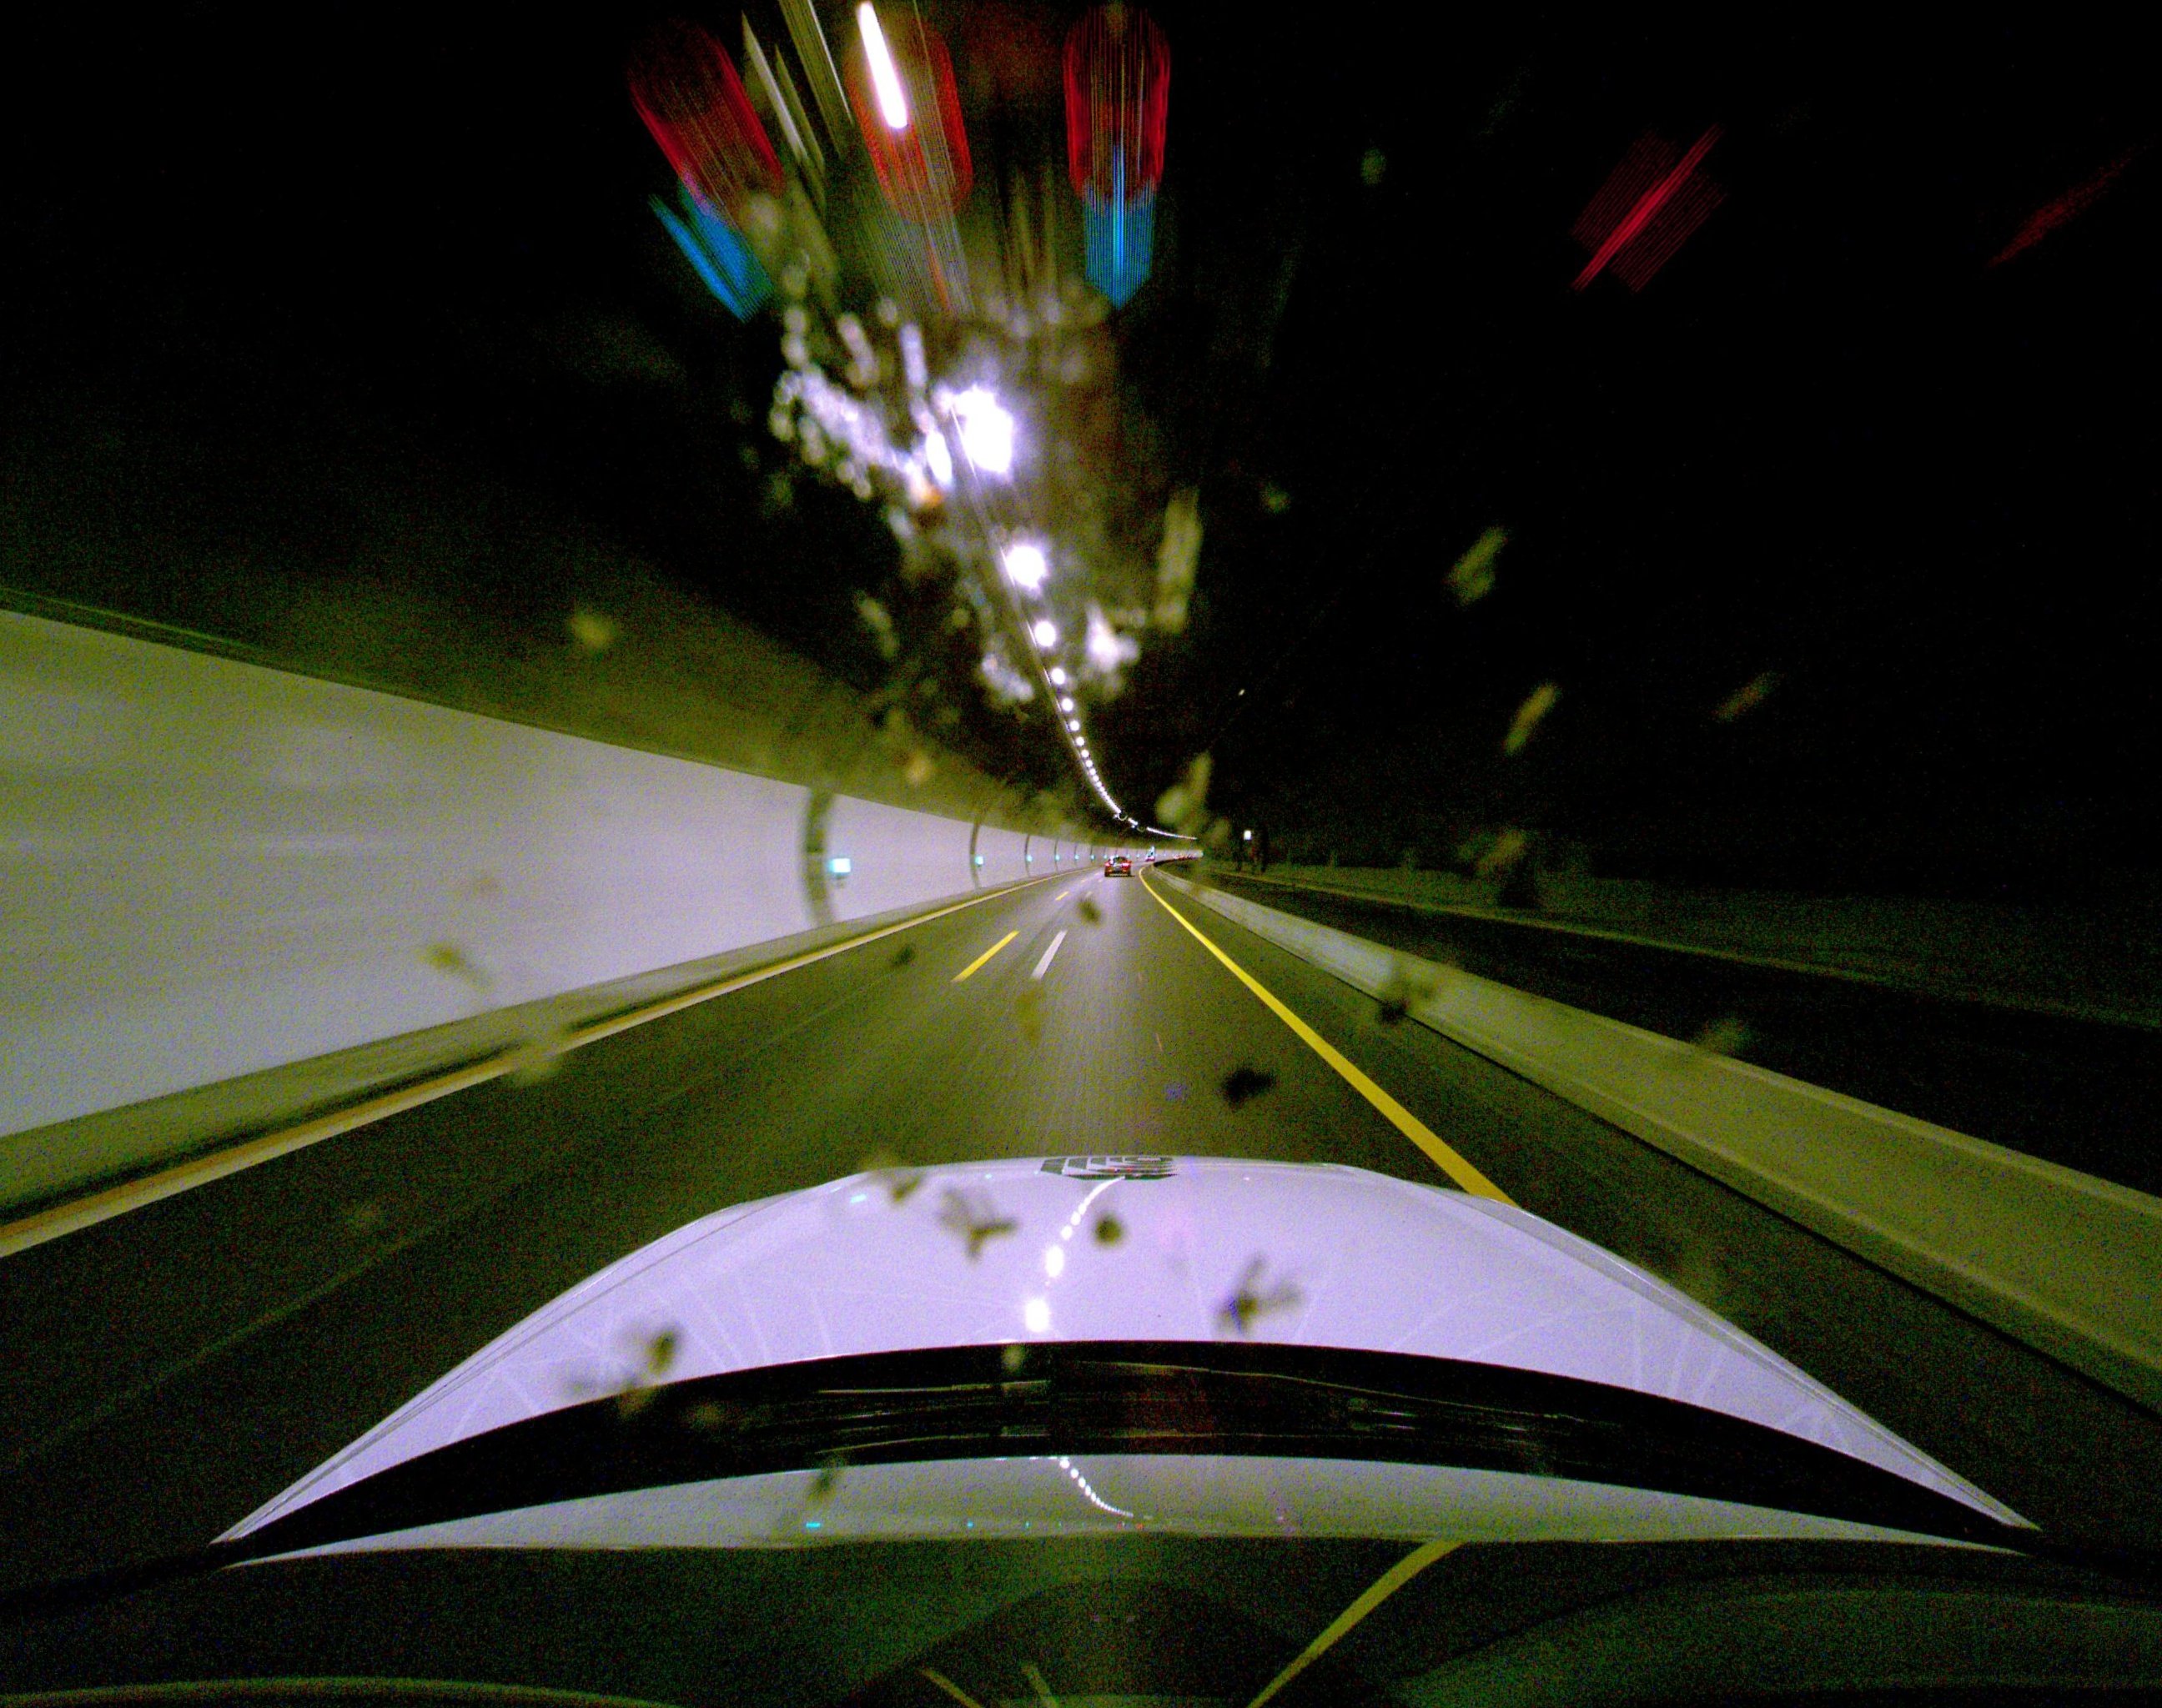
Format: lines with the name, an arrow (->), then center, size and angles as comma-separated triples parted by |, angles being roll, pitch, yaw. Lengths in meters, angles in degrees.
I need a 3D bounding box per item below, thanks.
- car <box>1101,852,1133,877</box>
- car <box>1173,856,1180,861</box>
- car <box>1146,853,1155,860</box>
car -> 2.635, 0.749, 58.744 | 2.131, 1.706, 4.004 | -1, 0, 4
car -> 27.617, 1.294, 234.900 | 1.585, 1.333, 3.761 | -1, 0, 10
car -> 16.545, 0.614, 193.723 | 2.153, 1.486, 4.009 | -1, 0, 7
